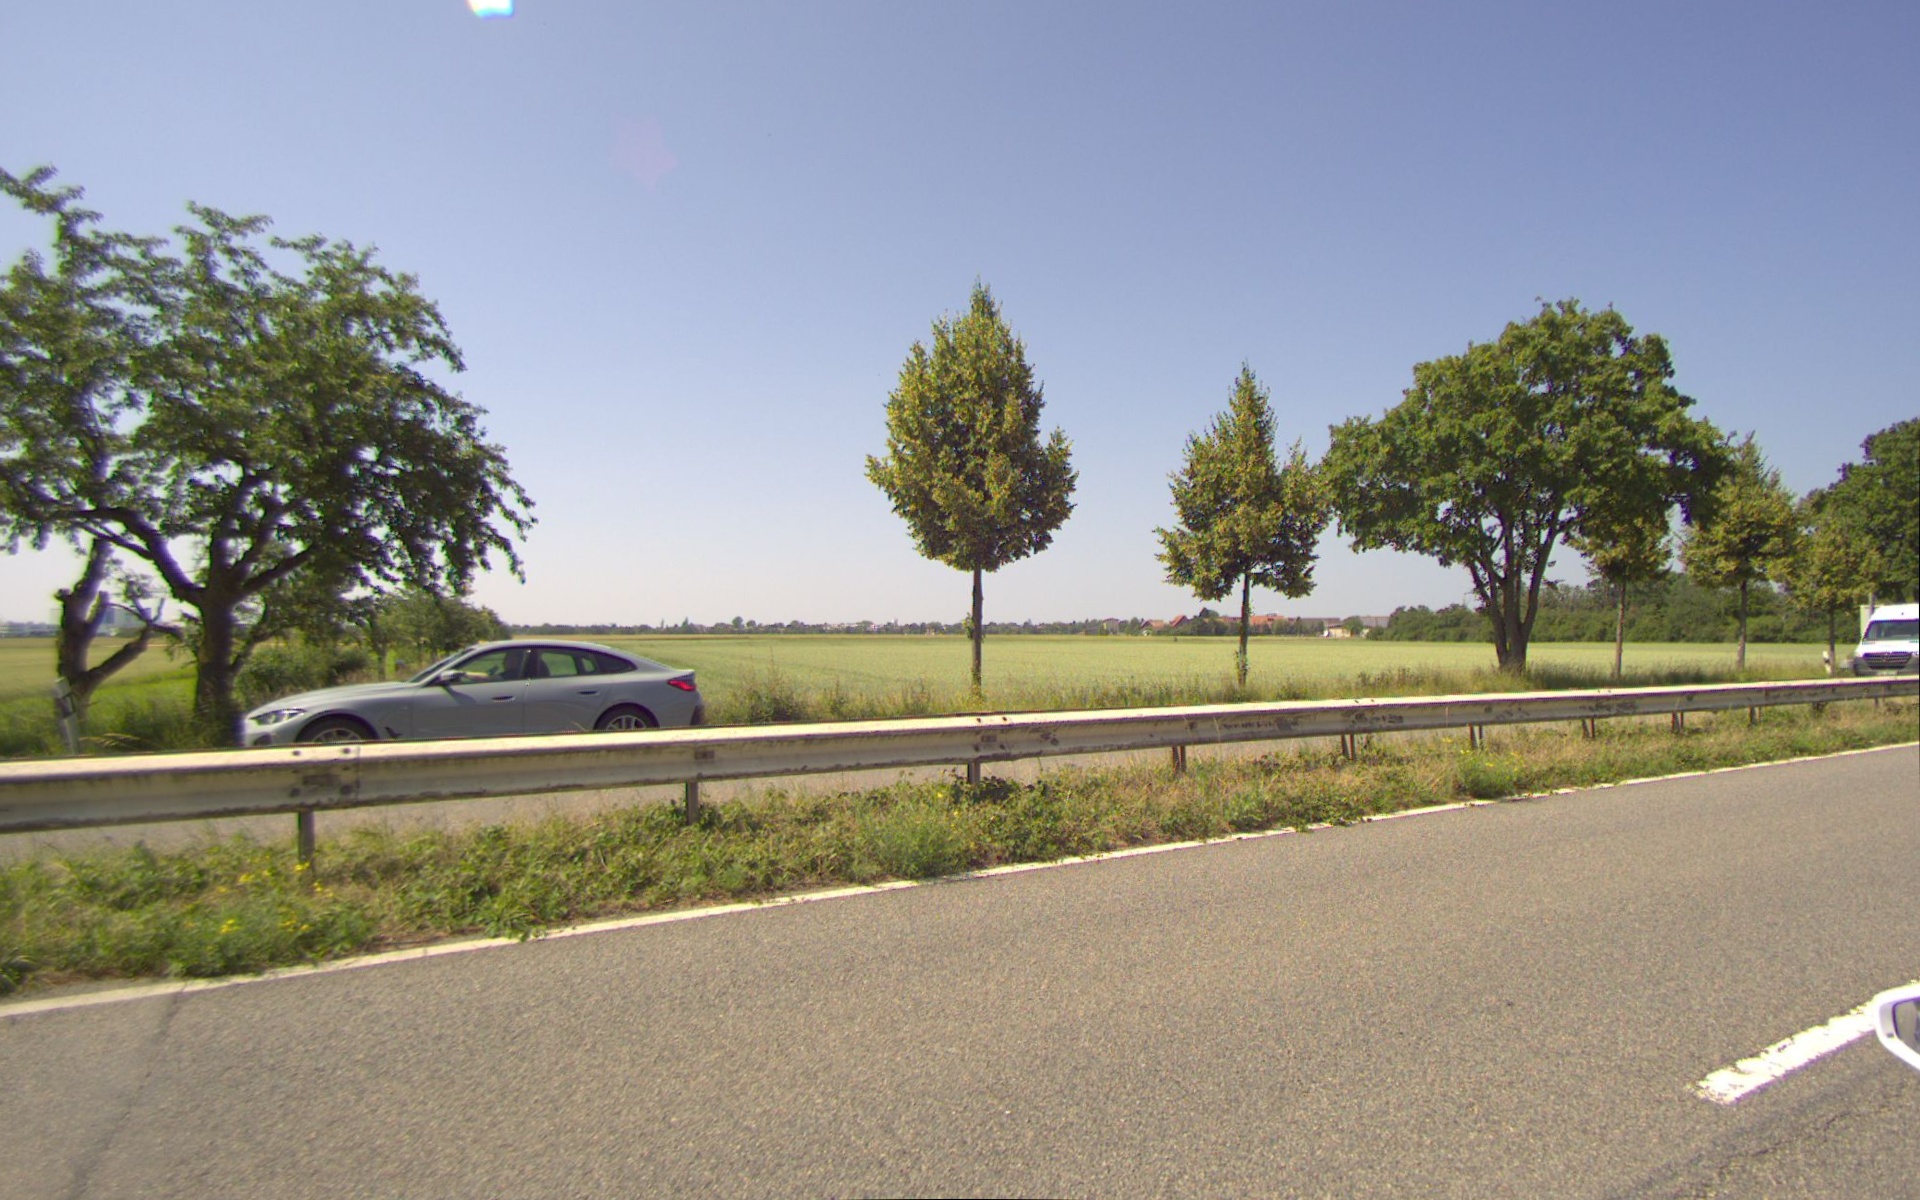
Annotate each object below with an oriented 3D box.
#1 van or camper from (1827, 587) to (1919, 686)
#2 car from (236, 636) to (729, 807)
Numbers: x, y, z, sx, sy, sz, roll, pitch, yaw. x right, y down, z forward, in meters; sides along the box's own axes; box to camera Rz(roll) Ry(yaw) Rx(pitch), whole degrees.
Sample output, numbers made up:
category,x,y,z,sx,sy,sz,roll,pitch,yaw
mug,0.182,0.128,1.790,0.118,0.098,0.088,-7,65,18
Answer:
category,x,y,z,sx,sy,sz,roll,pitch,yaw
van or camper,31.493,1.180,33.005,7.007,2.987,2.375,1,-2,-30
car,-5.326,1.232,11.655,4.811,1.611,1.945,1,-2,-32
